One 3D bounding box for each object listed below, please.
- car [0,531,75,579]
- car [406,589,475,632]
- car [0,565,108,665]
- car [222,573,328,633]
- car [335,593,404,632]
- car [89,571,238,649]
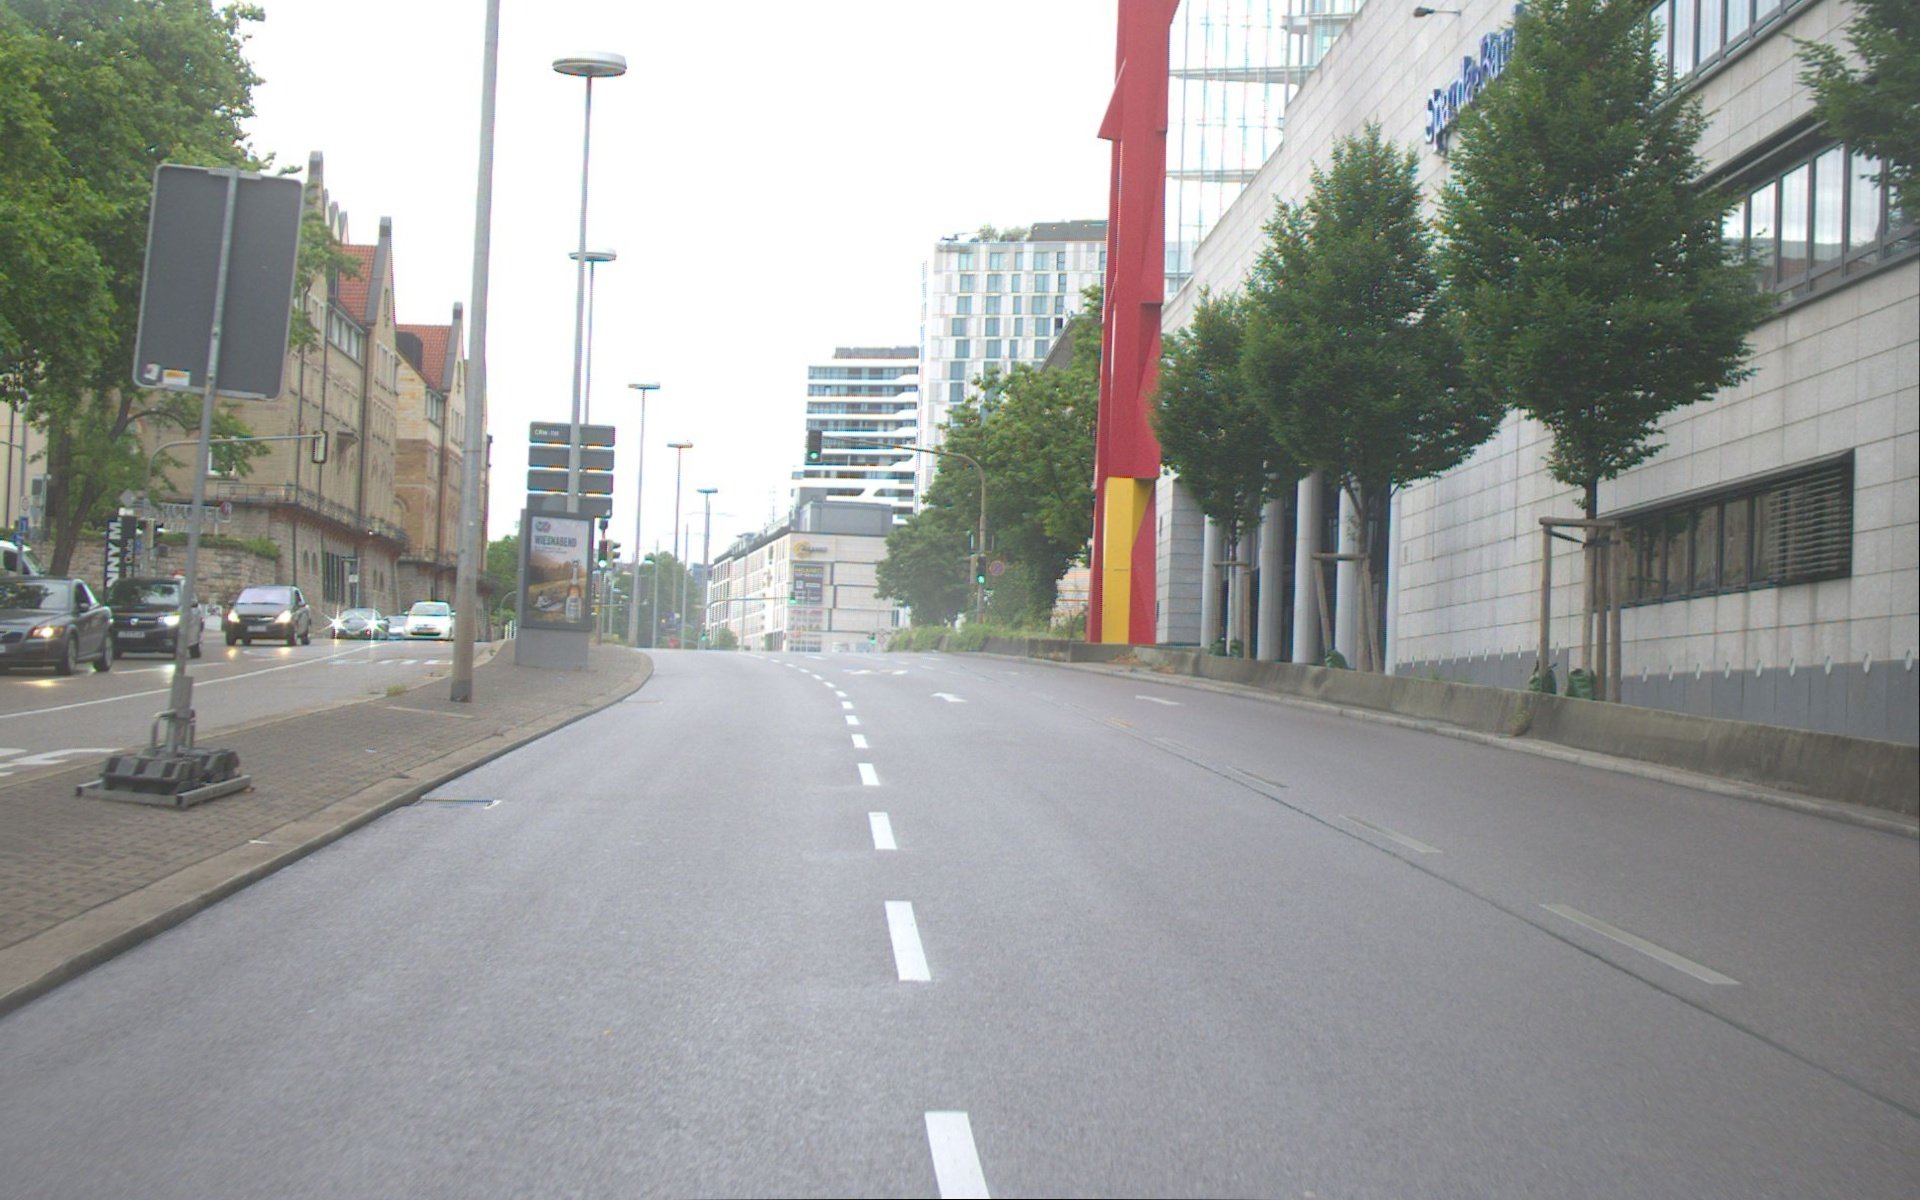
[{"bbox_3d":[-34.795,-1.659,127.375,3.628,1.695,1.825,0,-1,-5],"label":"car"},{"bbox_3d":[-18.287,0.389,121.148,1.819,1.463,4.000,0,-1,0],"label":"car"},{"bbox_3d":[-13.674,0.197,50.529,1.686,1.405,4.001,1,0,-6],"label":"car"},{"bbox_3d":[-16.922,0.089,85.047,1.819,1.398,4.000,0,-1,0],"label":"car"},{"bbox_3d":[-21.642,0.475,126.119,1.819,1.380,4.000,0,-1,0],"label":"car"},{"bbox_3d":[-14.698,0.208,63.643,1.819,1.398,4.000,0,-1,0],"label":"car"}]
